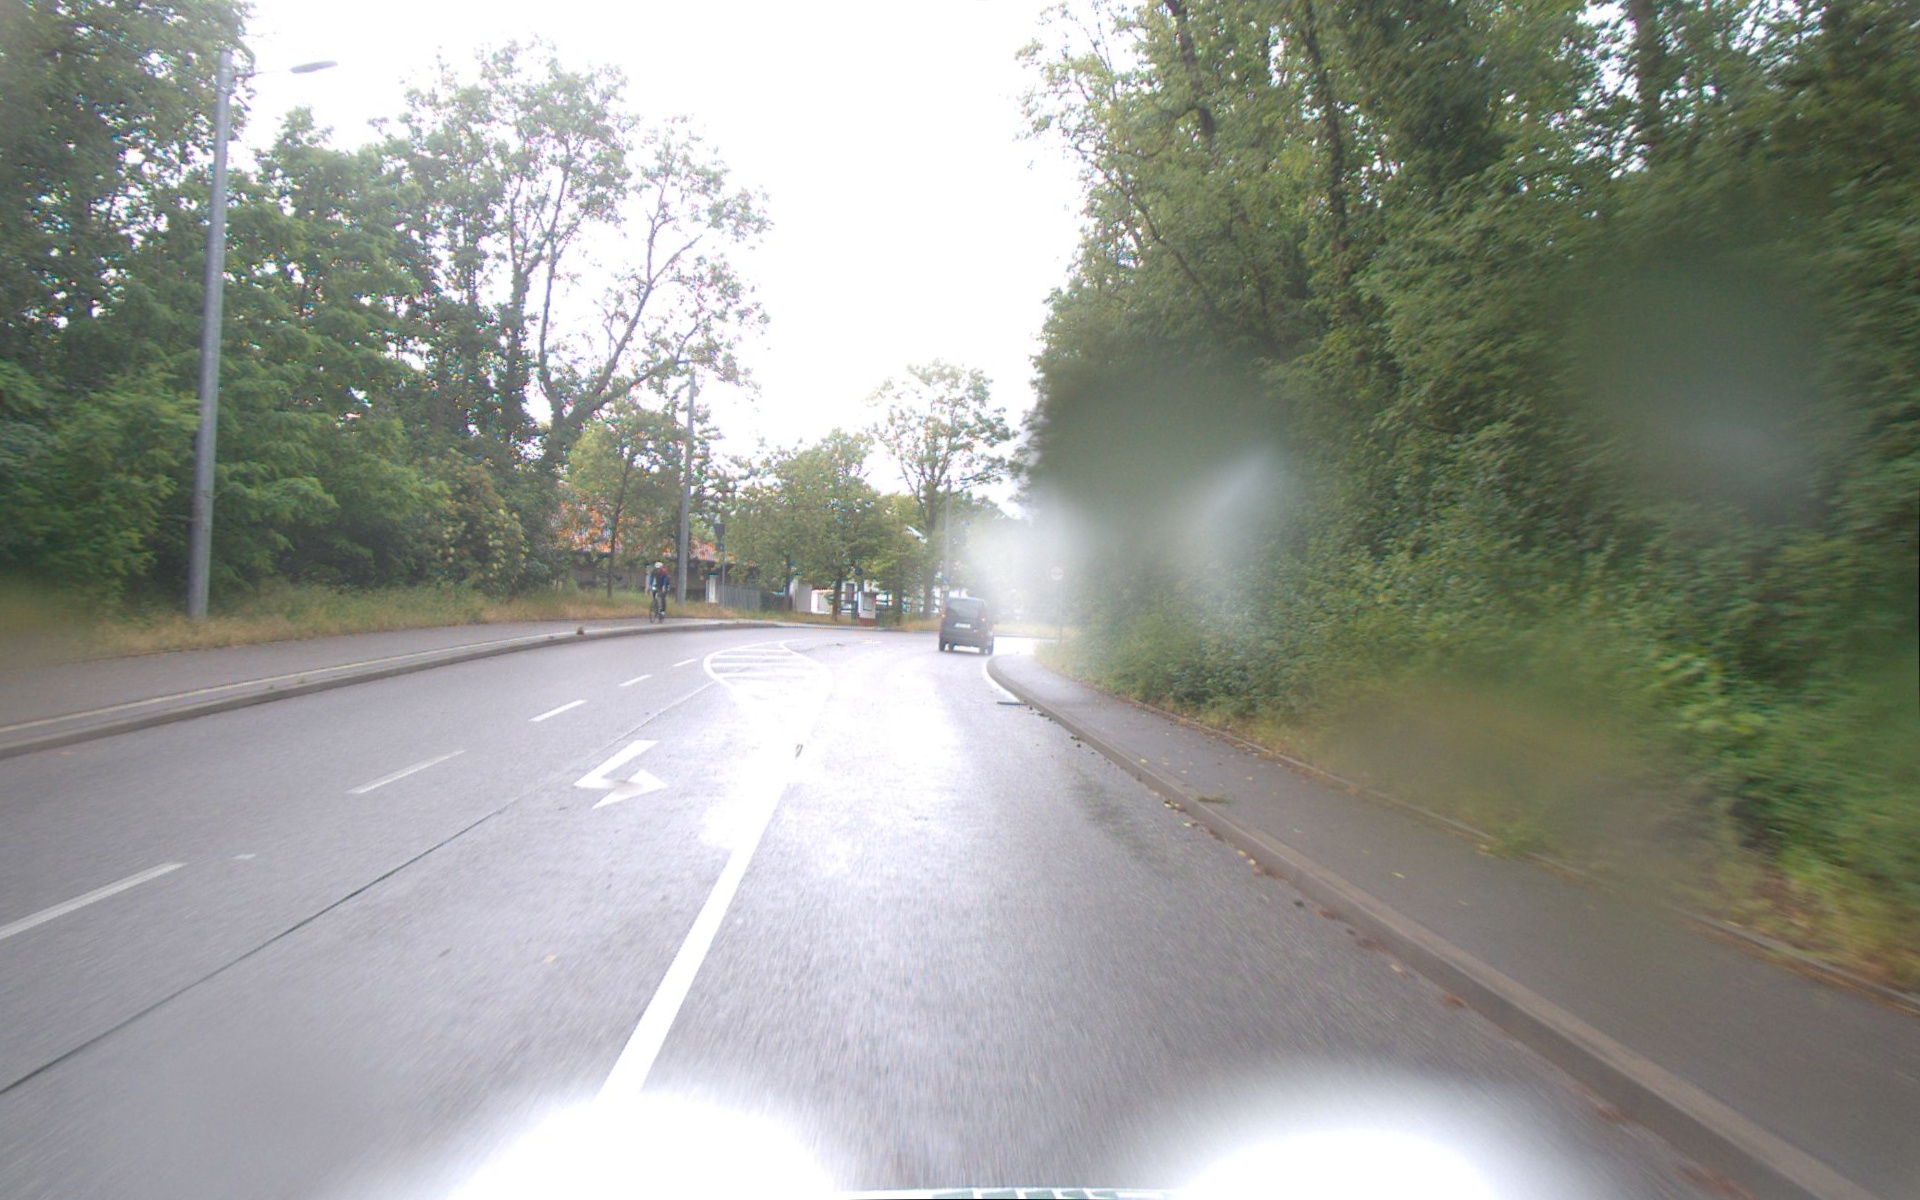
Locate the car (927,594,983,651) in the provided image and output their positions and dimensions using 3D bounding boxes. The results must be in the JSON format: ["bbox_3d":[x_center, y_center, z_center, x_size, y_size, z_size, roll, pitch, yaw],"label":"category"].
[{"bbox_3d":[-0.200,0.797,56.823,1.790,1.825,3.998,-1,-2,-2],"label":"car"}]

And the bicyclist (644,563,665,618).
[{"bbox_3d":[-9.176,-0.288,49.686,0.329,1.601,1.298,3,0,0],"label":"bicyclist"}]

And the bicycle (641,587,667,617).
[{"bbox_3d":[-9.186,0.044,49.687,0.348,0.864,2.093,3,0,1],"label":"bicycle"}]
